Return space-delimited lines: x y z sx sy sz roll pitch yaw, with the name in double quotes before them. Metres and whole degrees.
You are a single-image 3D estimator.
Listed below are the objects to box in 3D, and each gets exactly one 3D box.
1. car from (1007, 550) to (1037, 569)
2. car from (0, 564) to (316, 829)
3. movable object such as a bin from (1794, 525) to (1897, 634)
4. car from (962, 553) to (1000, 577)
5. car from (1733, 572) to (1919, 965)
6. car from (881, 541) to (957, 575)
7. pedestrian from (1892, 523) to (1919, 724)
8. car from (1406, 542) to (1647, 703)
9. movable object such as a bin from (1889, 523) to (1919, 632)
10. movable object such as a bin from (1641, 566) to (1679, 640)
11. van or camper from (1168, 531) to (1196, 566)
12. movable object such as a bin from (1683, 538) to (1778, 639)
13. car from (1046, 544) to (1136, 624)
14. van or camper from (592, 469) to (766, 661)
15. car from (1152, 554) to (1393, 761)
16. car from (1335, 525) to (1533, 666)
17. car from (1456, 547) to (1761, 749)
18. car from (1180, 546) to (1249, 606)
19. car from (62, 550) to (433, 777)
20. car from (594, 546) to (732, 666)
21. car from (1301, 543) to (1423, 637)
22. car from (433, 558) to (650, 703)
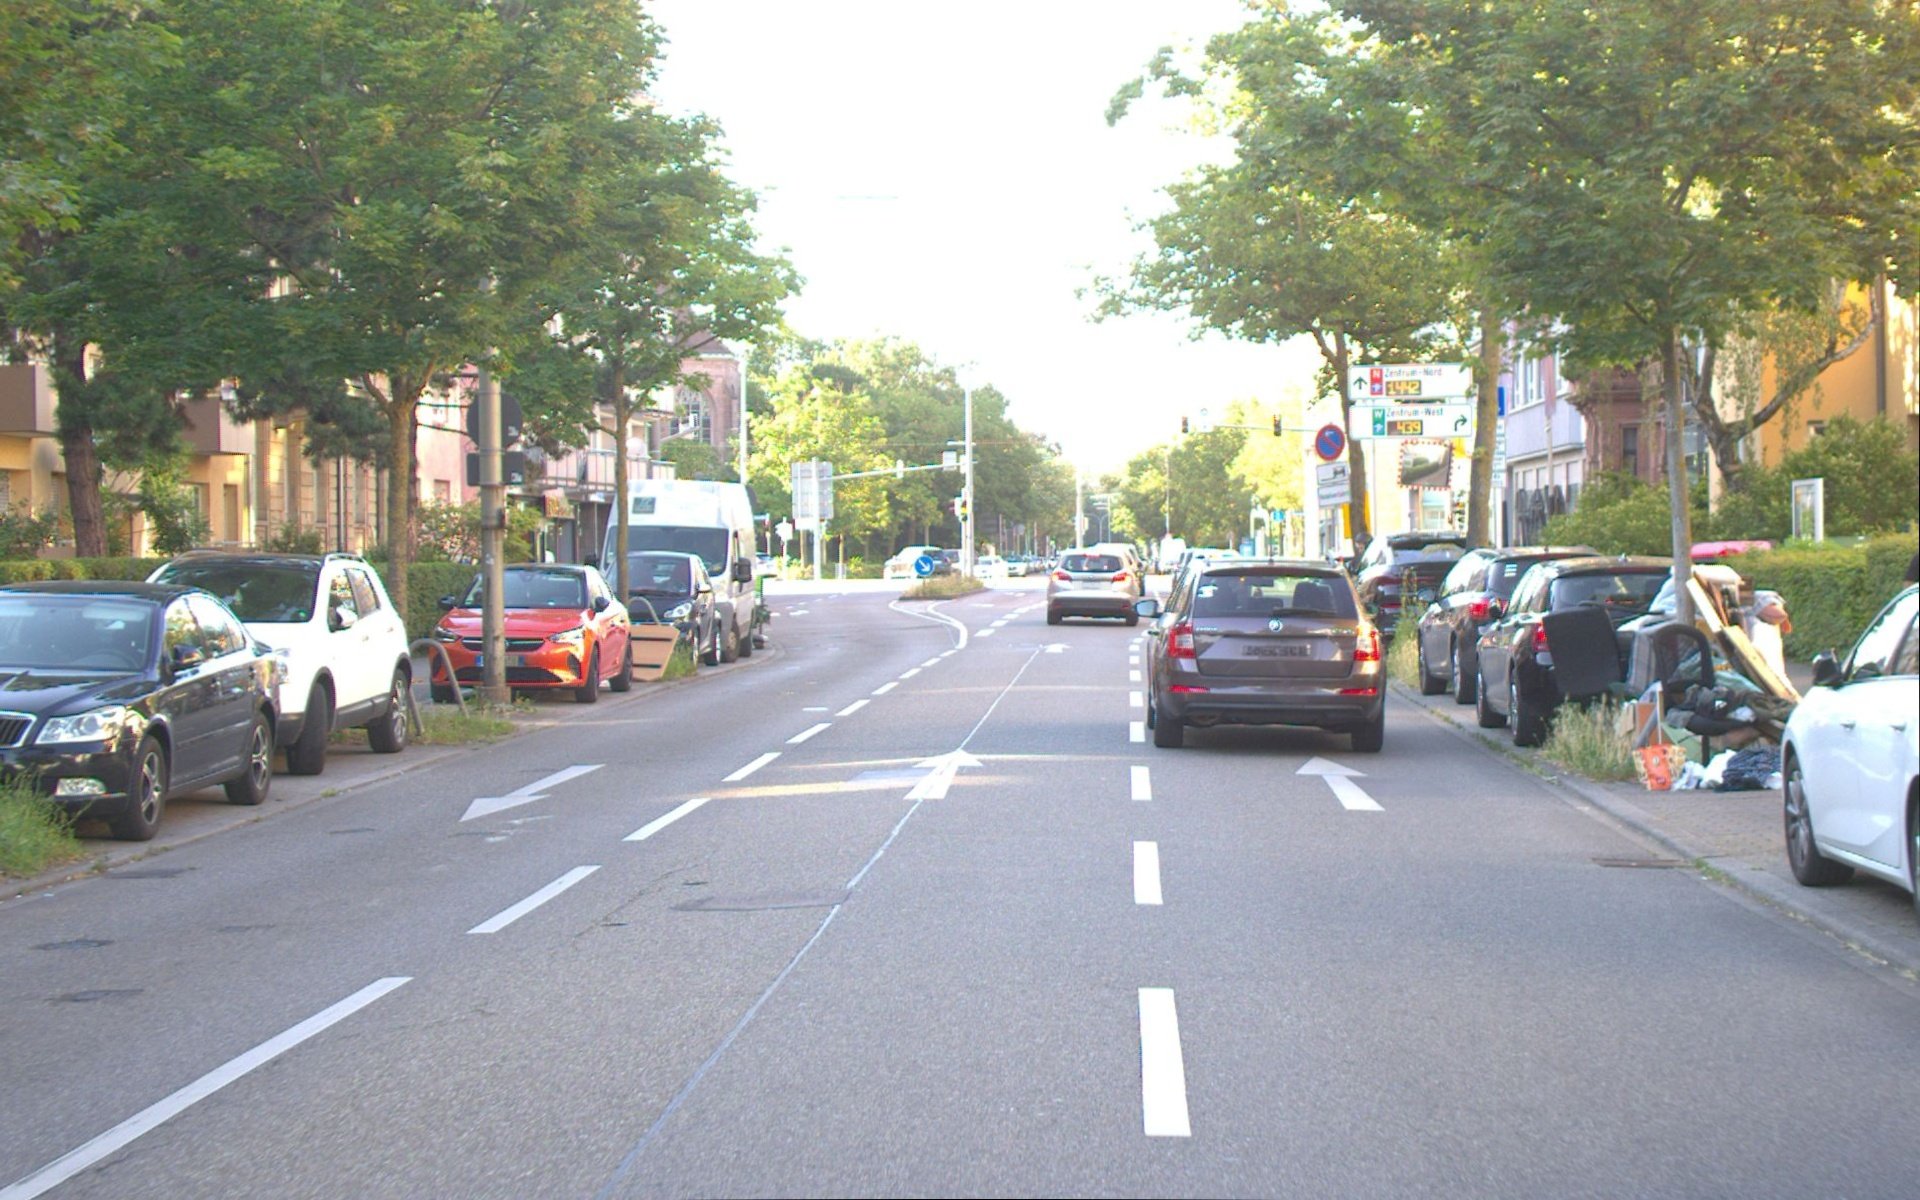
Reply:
"car" 4.118 -2.686 228.586 1.780 1.232 4.000 0 1 4
"car" -5.494 0.523 21.303 1.993 1.443 4.458 -1 1 2
"movable object such as a bin" 12.858 -0.306 49.961 1.154 1.550 0.995 -1 1 -7
"car" 1.112 -1.846 180.862 1.780 1.232 4.000 0 1 4
"car" 4.477 0.601 14.169 1.762 1.397 4.333 -2 1 3
"car" -1.842 -1.882 153.273 1.620 1.489 3.346 -1 1 -40
"pedestrian" 8.007 0.177 27.866 0.746 1.610 0.580 -1 1 1
"car" 5.624 0.176 34.597 1.716 1.467 4.432 -1 1 1
"movable object such as a bin" 14.191 -0.336 49.712 1.154 1.550 0.995 -1 1 -7
"movable object such as a bin" 10.192 0.044 50.036 0.494 1.055 0.547 -1 1 15
"van or camper" 16.760 -3.886 259.625 1.994 2.631 5.349 -1 1 5
"movable object such as a bin" 11.223 -0.172 50.070 1.253 1.436 0.994 -1 1 17
"car" 2.621 -0.347 68.149 1.707 1.504 4.309 0 1 3
"van or camper" -4.141 -0.541 51.578 2.035 2.654 6.016 1 1 0
"car" 2.353 0.383 26.703 1.707 1.452 4.158 0 1 3
"car" 5.865 -0.092 43.060 1.948 1.649 4.796 -1 1 2
"car" 5.144 0.323 27.810 1.770 1.444 4.484 -1 1 3
"car" 6.471 -0.628 87.666 1.650 1.479 4.239 0 1 3
"car" -5.341 0.415 26.296 1.777 1.583 4.185 0 1 3
"car" -4.000 0.059 46.624 1.404 1.543 2.761 1 1 4
"car" 6.897 -0.205 59.410 1.856 1.507 4.834 -2 1 4
"car" -4.504 0.290 37.457 1.717 1.447 3.923 0 1 3
